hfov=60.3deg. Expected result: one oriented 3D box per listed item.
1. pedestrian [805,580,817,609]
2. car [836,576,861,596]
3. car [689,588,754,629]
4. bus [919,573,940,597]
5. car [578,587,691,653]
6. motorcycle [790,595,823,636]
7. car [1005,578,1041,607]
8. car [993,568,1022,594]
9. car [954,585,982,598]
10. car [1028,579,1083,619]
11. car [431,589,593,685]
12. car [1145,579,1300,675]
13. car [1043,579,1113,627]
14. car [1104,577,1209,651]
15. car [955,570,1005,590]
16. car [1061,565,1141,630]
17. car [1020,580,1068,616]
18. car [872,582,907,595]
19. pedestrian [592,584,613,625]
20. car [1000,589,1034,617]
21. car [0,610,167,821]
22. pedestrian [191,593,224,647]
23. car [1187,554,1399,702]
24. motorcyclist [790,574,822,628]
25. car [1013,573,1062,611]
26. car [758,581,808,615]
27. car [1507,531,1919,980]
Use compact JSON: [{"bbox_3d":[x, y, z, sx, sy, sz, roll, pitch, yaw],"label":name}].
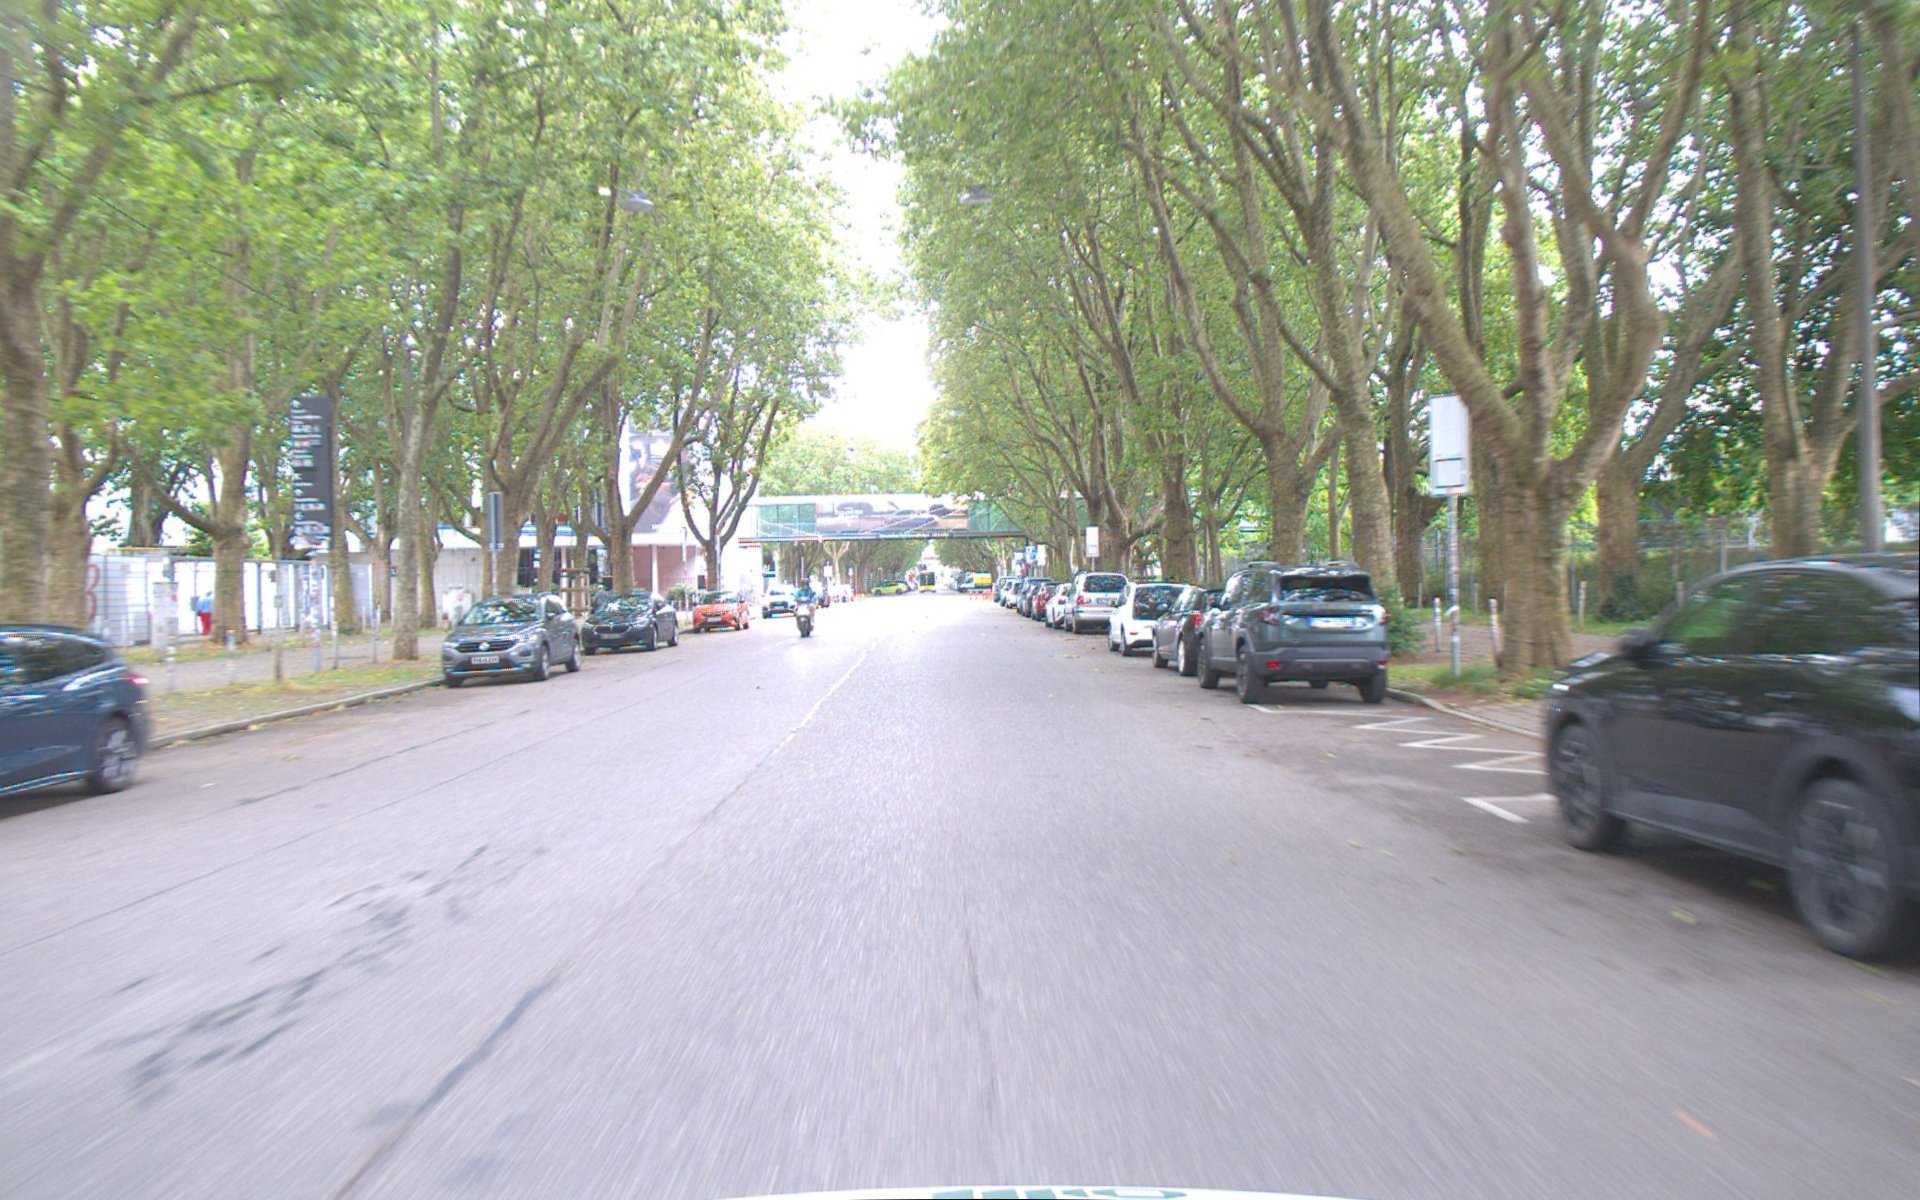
[{"bbox_3d":[-7.693,-0.292,85.400,0.571,1.492,0.567,0,0,3],"label":"pedestrian"},{"bbox_3d":[-10.140,-1.298,151.079,1.953,1.612,4.113,-4,1,0],"label":"car"},{"bbox_3d":[-8.621,0.278,60.002,1.771,1.377,4.000,-1,1,0],"label":"car"},{"bbox_3d":[-4.562,-2.196,246.388,2.977,3.215,12.673,-3,0,-1],"label":"bus"},{"bbox_3d":[-8.172,0.453,41.899,1.789,1.491,4.628,-3,1,1],"label":"car"},{"bbox_3d":[-4.389,0.425,47.375,0.856,1.098,3.050,-1,1,-4],"label":"motorcycle"},{"bbox_3d":[3.525,-0.441,93.189,1.771,1.552,4.095,-1,0,0],"label":"car"},{"bbox_3d":[3.348,-1.316,117.480,1.809,1.814,5.210,0,0,-1],"label":"car"},{"bbox_3d":[1.068,-1.211,235.203,3.906,1.825,1.542,-1,0,-2],"label":"car"},{"bbox_3d":[3.721,-0.058,64.980,1.819,1.507,4.177,-1,1,-1],"label":"car"},{"bbox_3d":[-8.167,0.626,30.536,1.840,1.553,4.151,-2,1,0],"label":"car"},{"bbox_3d":[4.245,0.378,27.398,1.673,1.440,4.359,-1,1,-3],"label":"car"},{"bbox_3d":[3.775,0.063,53.606,1.839,1.452,4.585,-1,1,-1],"label":"car"},{"bbox_3d":[4.037,0.259,34.467,1.672,1.452,3.889,0,1,-1],"label":"car"},{"bbox_3d":[2.774,-2.736,227.771,6.687,2.557,2.315,-1,1,-3],"label":"car"},{"bbox_3d":[4.052,-0.101,48.162,1.864,1.769,4.506,-1,1,-1],"label":"car"},{"bbox_3d":[3.592,-0.107,71.651,1.838,1.452,4.479,-1,1,0],"label":"car"},{"bbox_3d":[-9.263,-1.475,217.533,4.604,1.612,1.864,-1,0,0],"label":"car"},{"bbox_3d":[-14.425,0.184,66.789,0.579,1.648,0.792,-1,0,8],"label":"pedestrian"},{"bbox_3d":[3.469,0.162,101.043,1.875,1.646,4.748,-1,0,0],"label":"car"},{"bbox_3d":[-7.978,0.897,12.588,1.689,1.512,4.574,-1,1,-1],"label":"car"},{"bbox_3d":[-22.138,0.573,48.668,0.654,1.570,0.660,-1,0,0],"label":"pedestrian"},{"bbox_3d":[4.211,0.302,21.625,1.673,1.728,4.629,0,1,-2],"label":"car"},{"bbox_3d":[-4.407,0.015,47.341,0.853,1.506,1.264,-1,1,-4],"label":"motorcyclist"},{"bbox_3d":[3.648,-0.373,78.550,1.941,1.709,4.730,-1,0,-1],"label":"car"},{"bbox_3d":[-8.996,-0.120,84.270,2.031,1.590,4.756,-1,1,0],"label":"car"},{"bbox_3d":[4.442,0.554,8.278,1.741,1.702,4.636,-1,1,-2],"label":"car"}]
